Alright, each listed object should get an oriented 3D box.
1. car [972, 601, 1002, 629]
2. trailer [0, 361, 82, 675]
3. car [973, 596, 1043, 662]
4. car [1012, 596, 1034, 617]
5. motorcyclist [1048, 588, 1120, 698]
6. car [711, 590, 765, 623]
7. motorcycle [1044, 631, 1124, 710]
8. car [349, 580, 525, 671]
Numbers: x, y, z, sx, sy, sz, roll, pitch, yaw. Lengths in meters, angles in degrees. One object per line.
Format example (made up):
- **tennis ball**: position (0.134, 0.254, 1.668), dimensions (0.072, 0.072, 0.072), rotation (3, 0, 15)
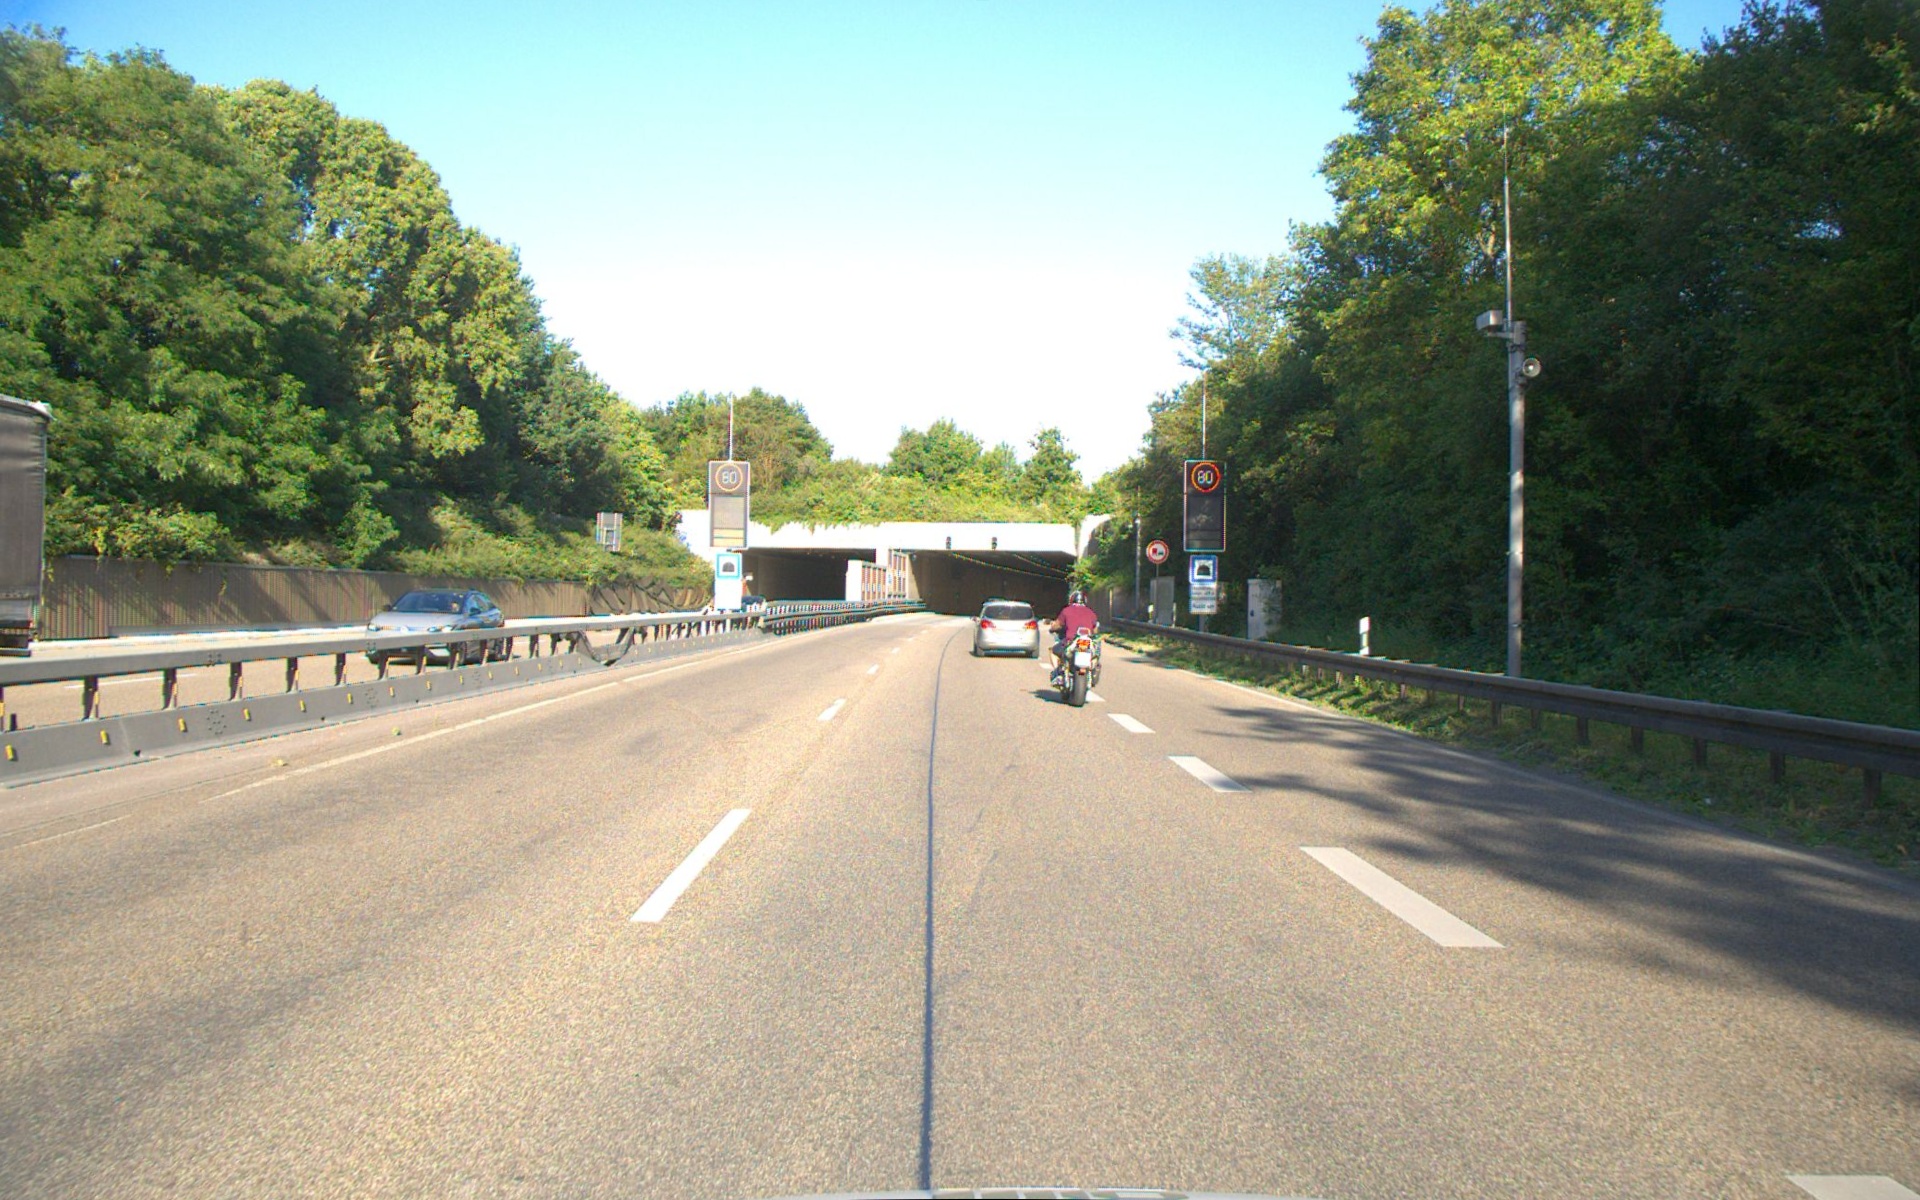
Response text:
- **car**: position (1.915, 1.078, 119.682), dimensions (1.953, 1.959, 3.999), rotation (1, 0, -2)
- **trailer**: position (-14.568, -1.103, 17.961), dimensions (2.692, 4.354, 14.082), rotation (2, 1, -1)
- **car**: position (1.259, 0.743, 44.811), dimensions (1.633, 1.579, 3.999), rotation (2, 1, -2)
- **car**: position (6.145, 0.599, 161.798), dimensions (1.952, 1.959, 4.002), rotation (1, 0, 4)
- **motorcyclist**: position (1.789, 0.608, 24.073), dimensions (0.865, 1.527, 1.062), rotation (2, 1, -3)
- **car**: position (-10.825, 0.298, 80.815), dimensions (1.952, 1.512, 4.200), rotation (1, 1, 1)
- **motorcycle**: position (1.772, 0.987, 24.054), dimensions (0.841, 1.008, 2.727), rotation (2, 0, -2)
- **car**: position (-10.961, 0.474, 35.095), dimensions (1.952, 1.687, 4.940), rotation (2, 1, 2)
